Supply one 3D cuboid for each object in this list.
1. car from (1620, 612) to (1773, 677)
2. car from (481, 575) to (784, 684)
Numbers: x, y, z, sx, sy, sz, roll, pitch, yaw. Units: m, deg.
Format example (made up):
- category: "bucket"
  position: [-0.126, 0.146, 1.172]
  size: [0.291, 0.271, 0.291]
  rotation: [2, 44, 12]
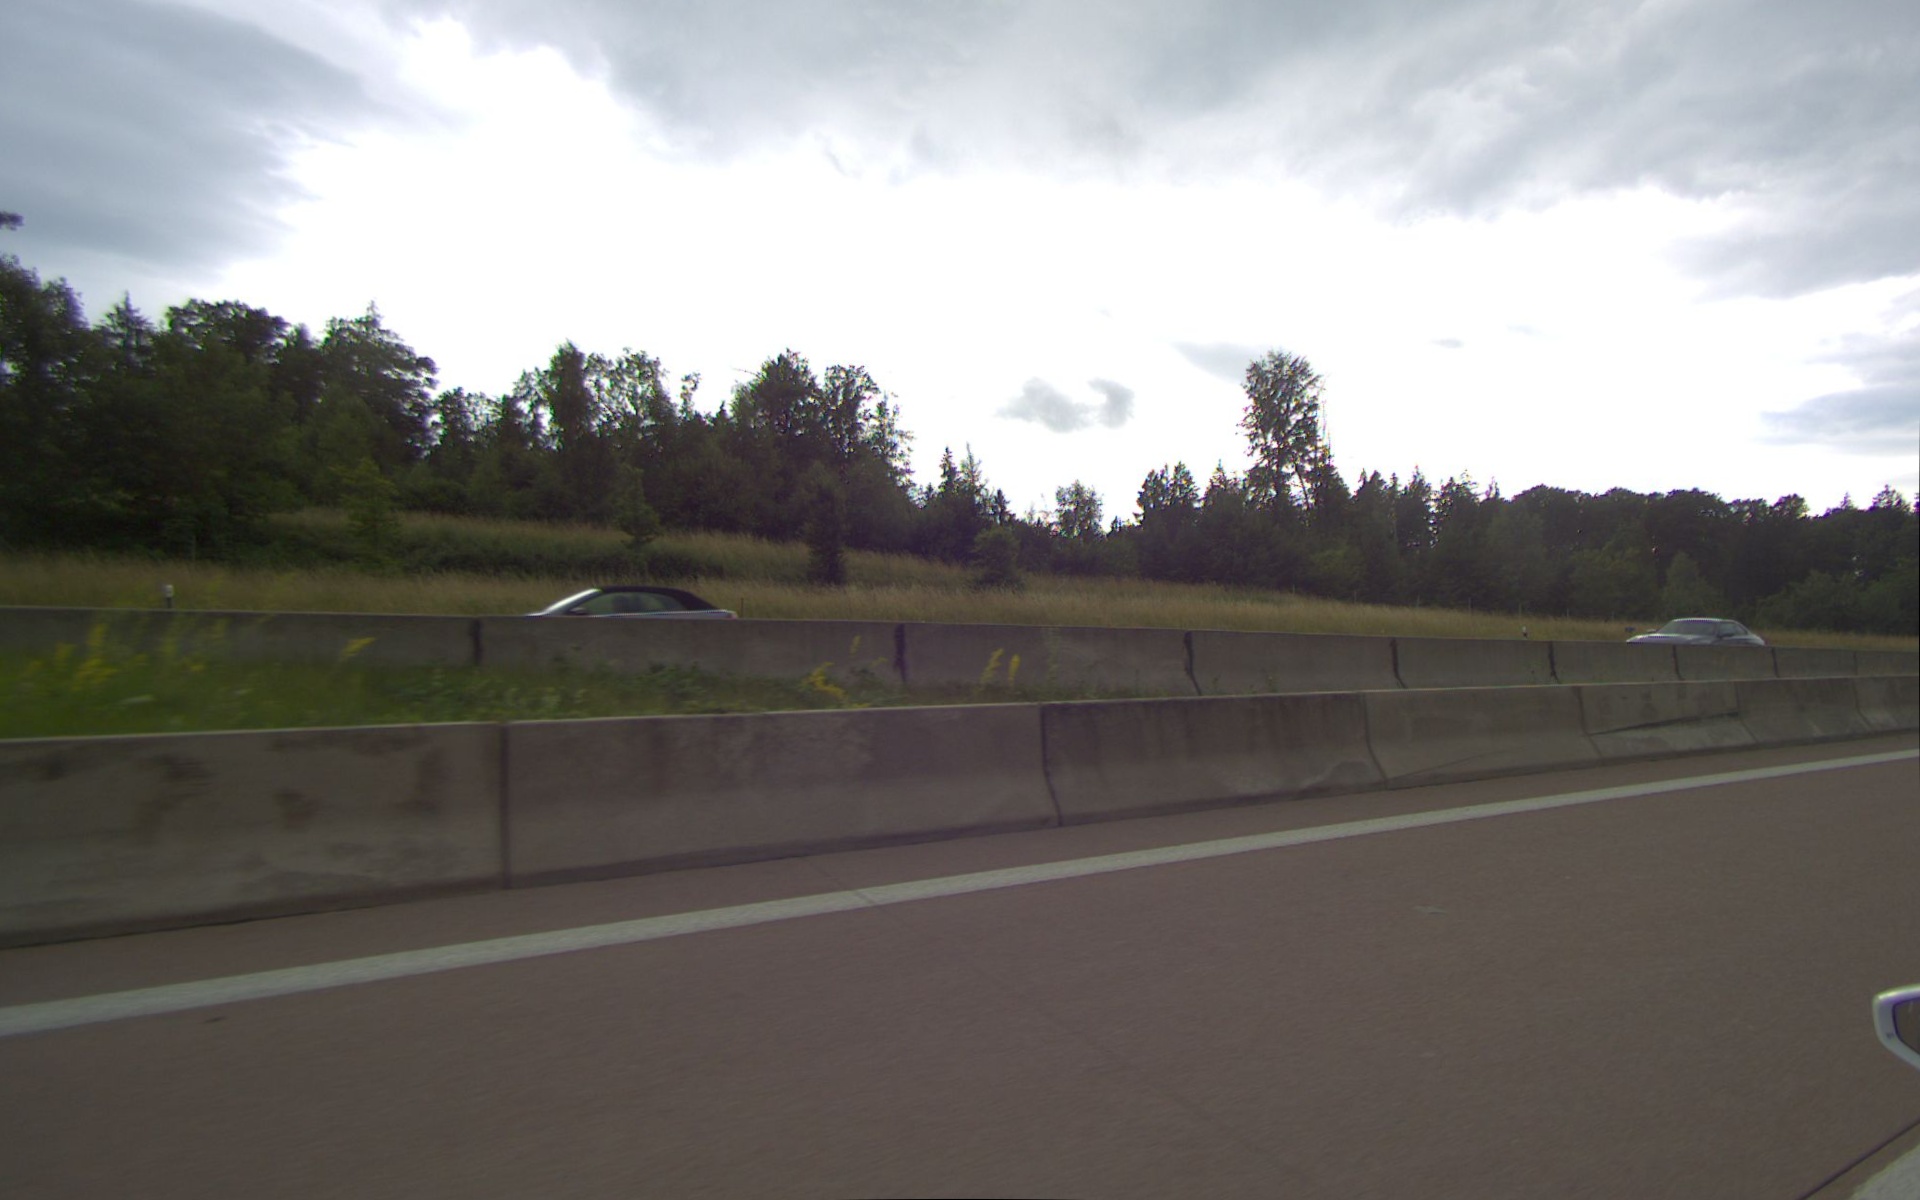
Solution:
- category: "car"
  position: [19.778, 1.199, 26.951]
  size: [4.194, 1.545, 1.724]
  rotation: [3, -1, -30]
- category: "car"
  position: [-5.217, 0.503, 16.153]
  size: [4.360, 1.545, 1.724]
  rotation: [3, -1, -30]
